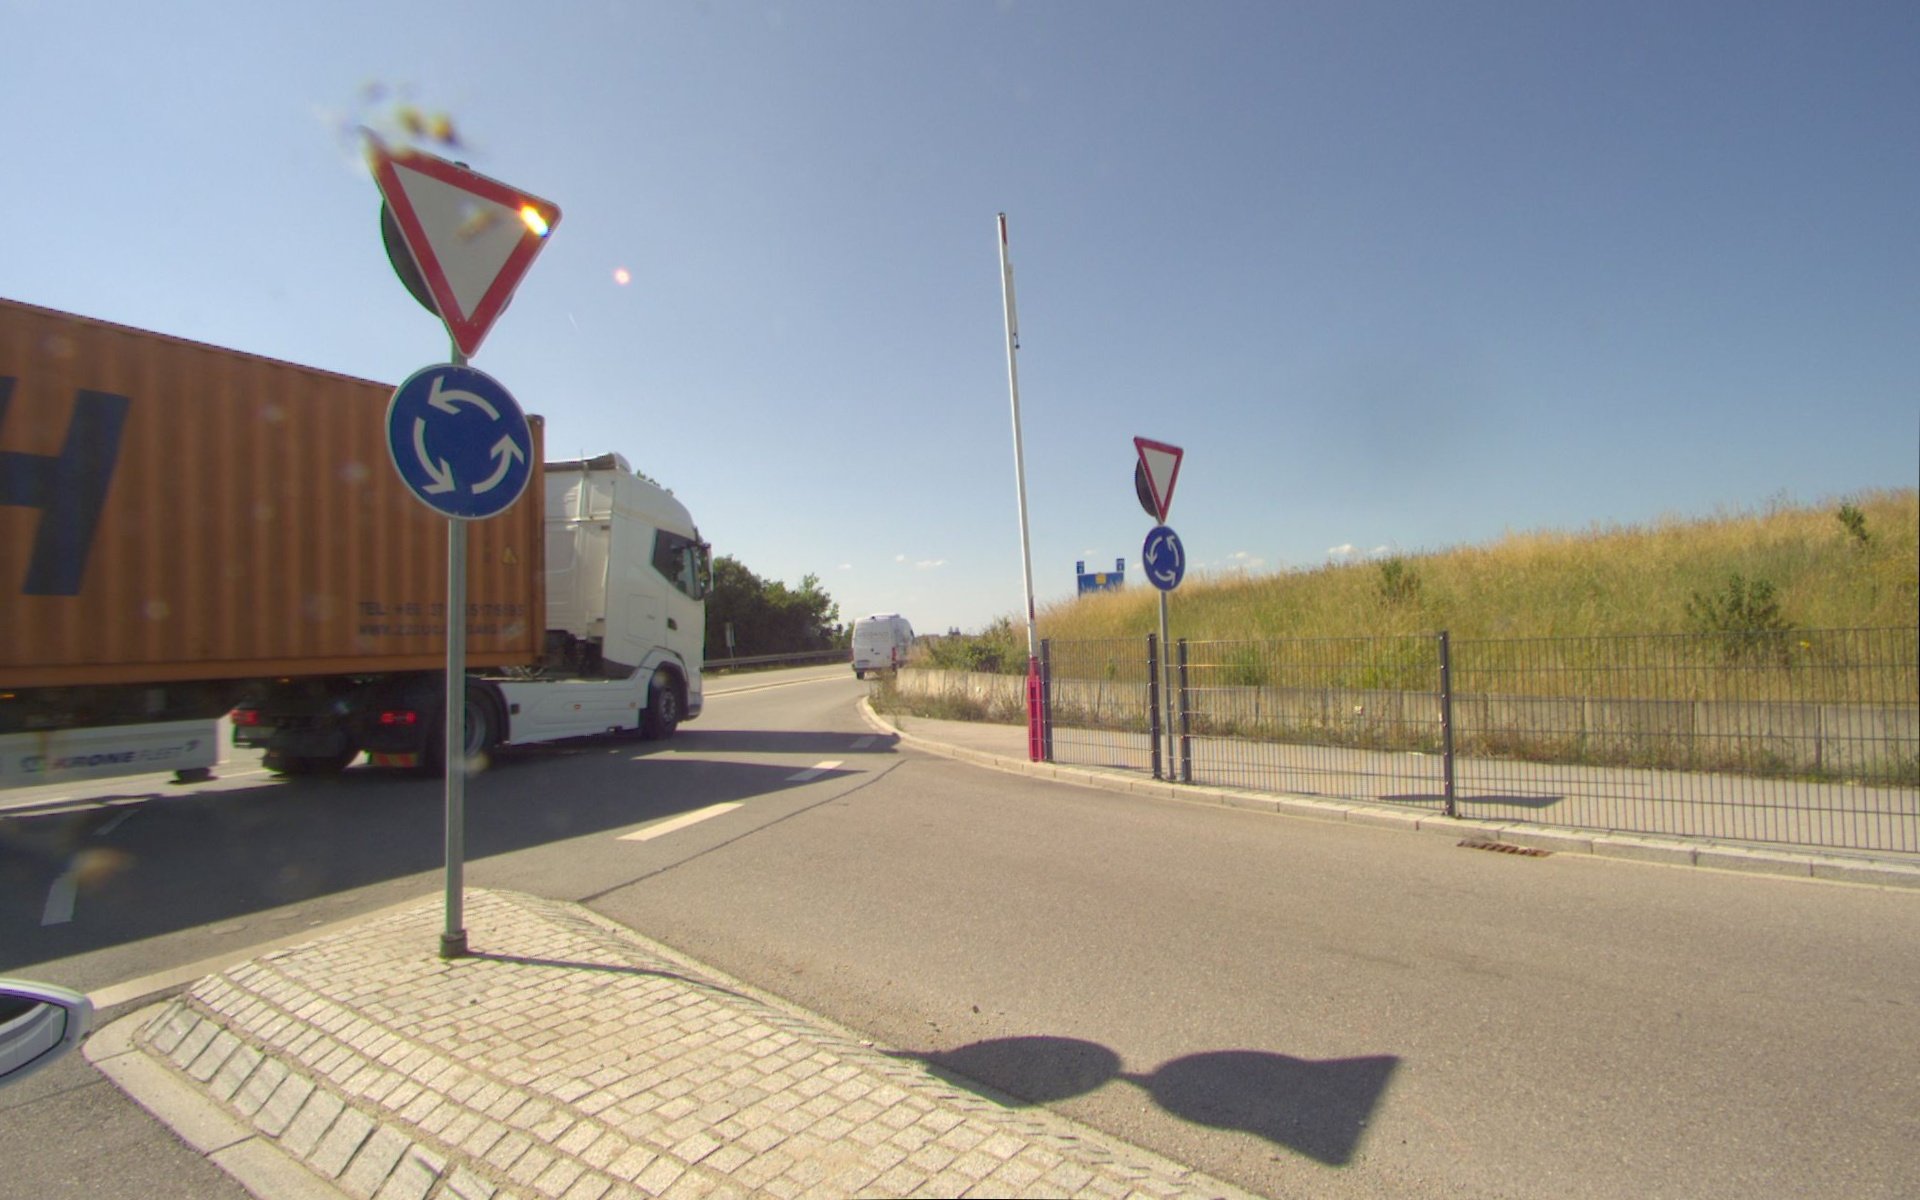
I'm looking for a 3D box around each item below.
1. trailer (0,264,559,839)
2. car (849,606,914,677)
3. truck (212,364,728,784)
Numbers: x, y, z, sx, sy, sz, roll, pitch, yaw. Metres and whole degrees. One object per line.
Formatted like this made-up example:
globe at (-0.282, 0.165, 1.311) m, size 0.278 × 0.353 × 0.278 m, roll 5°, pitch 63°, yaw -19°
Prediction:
trailer at (-8.635, -0.353, 6.901) m, size 2.521 × 4.206 × 12.318 m, roll -2°, pitch -2°, yaw 27°
car at (-3.401, 1.871, 44.659) m, size 2.044 × 2.957 × 6.143 m, roll -1°, pitch -3°, yaw 4°
truck at (-5.834, -0.130, 13.365) m, size 2.614 × 4.158 × 6.430 m, roll -1°, pitch -2°, yaw 15°
